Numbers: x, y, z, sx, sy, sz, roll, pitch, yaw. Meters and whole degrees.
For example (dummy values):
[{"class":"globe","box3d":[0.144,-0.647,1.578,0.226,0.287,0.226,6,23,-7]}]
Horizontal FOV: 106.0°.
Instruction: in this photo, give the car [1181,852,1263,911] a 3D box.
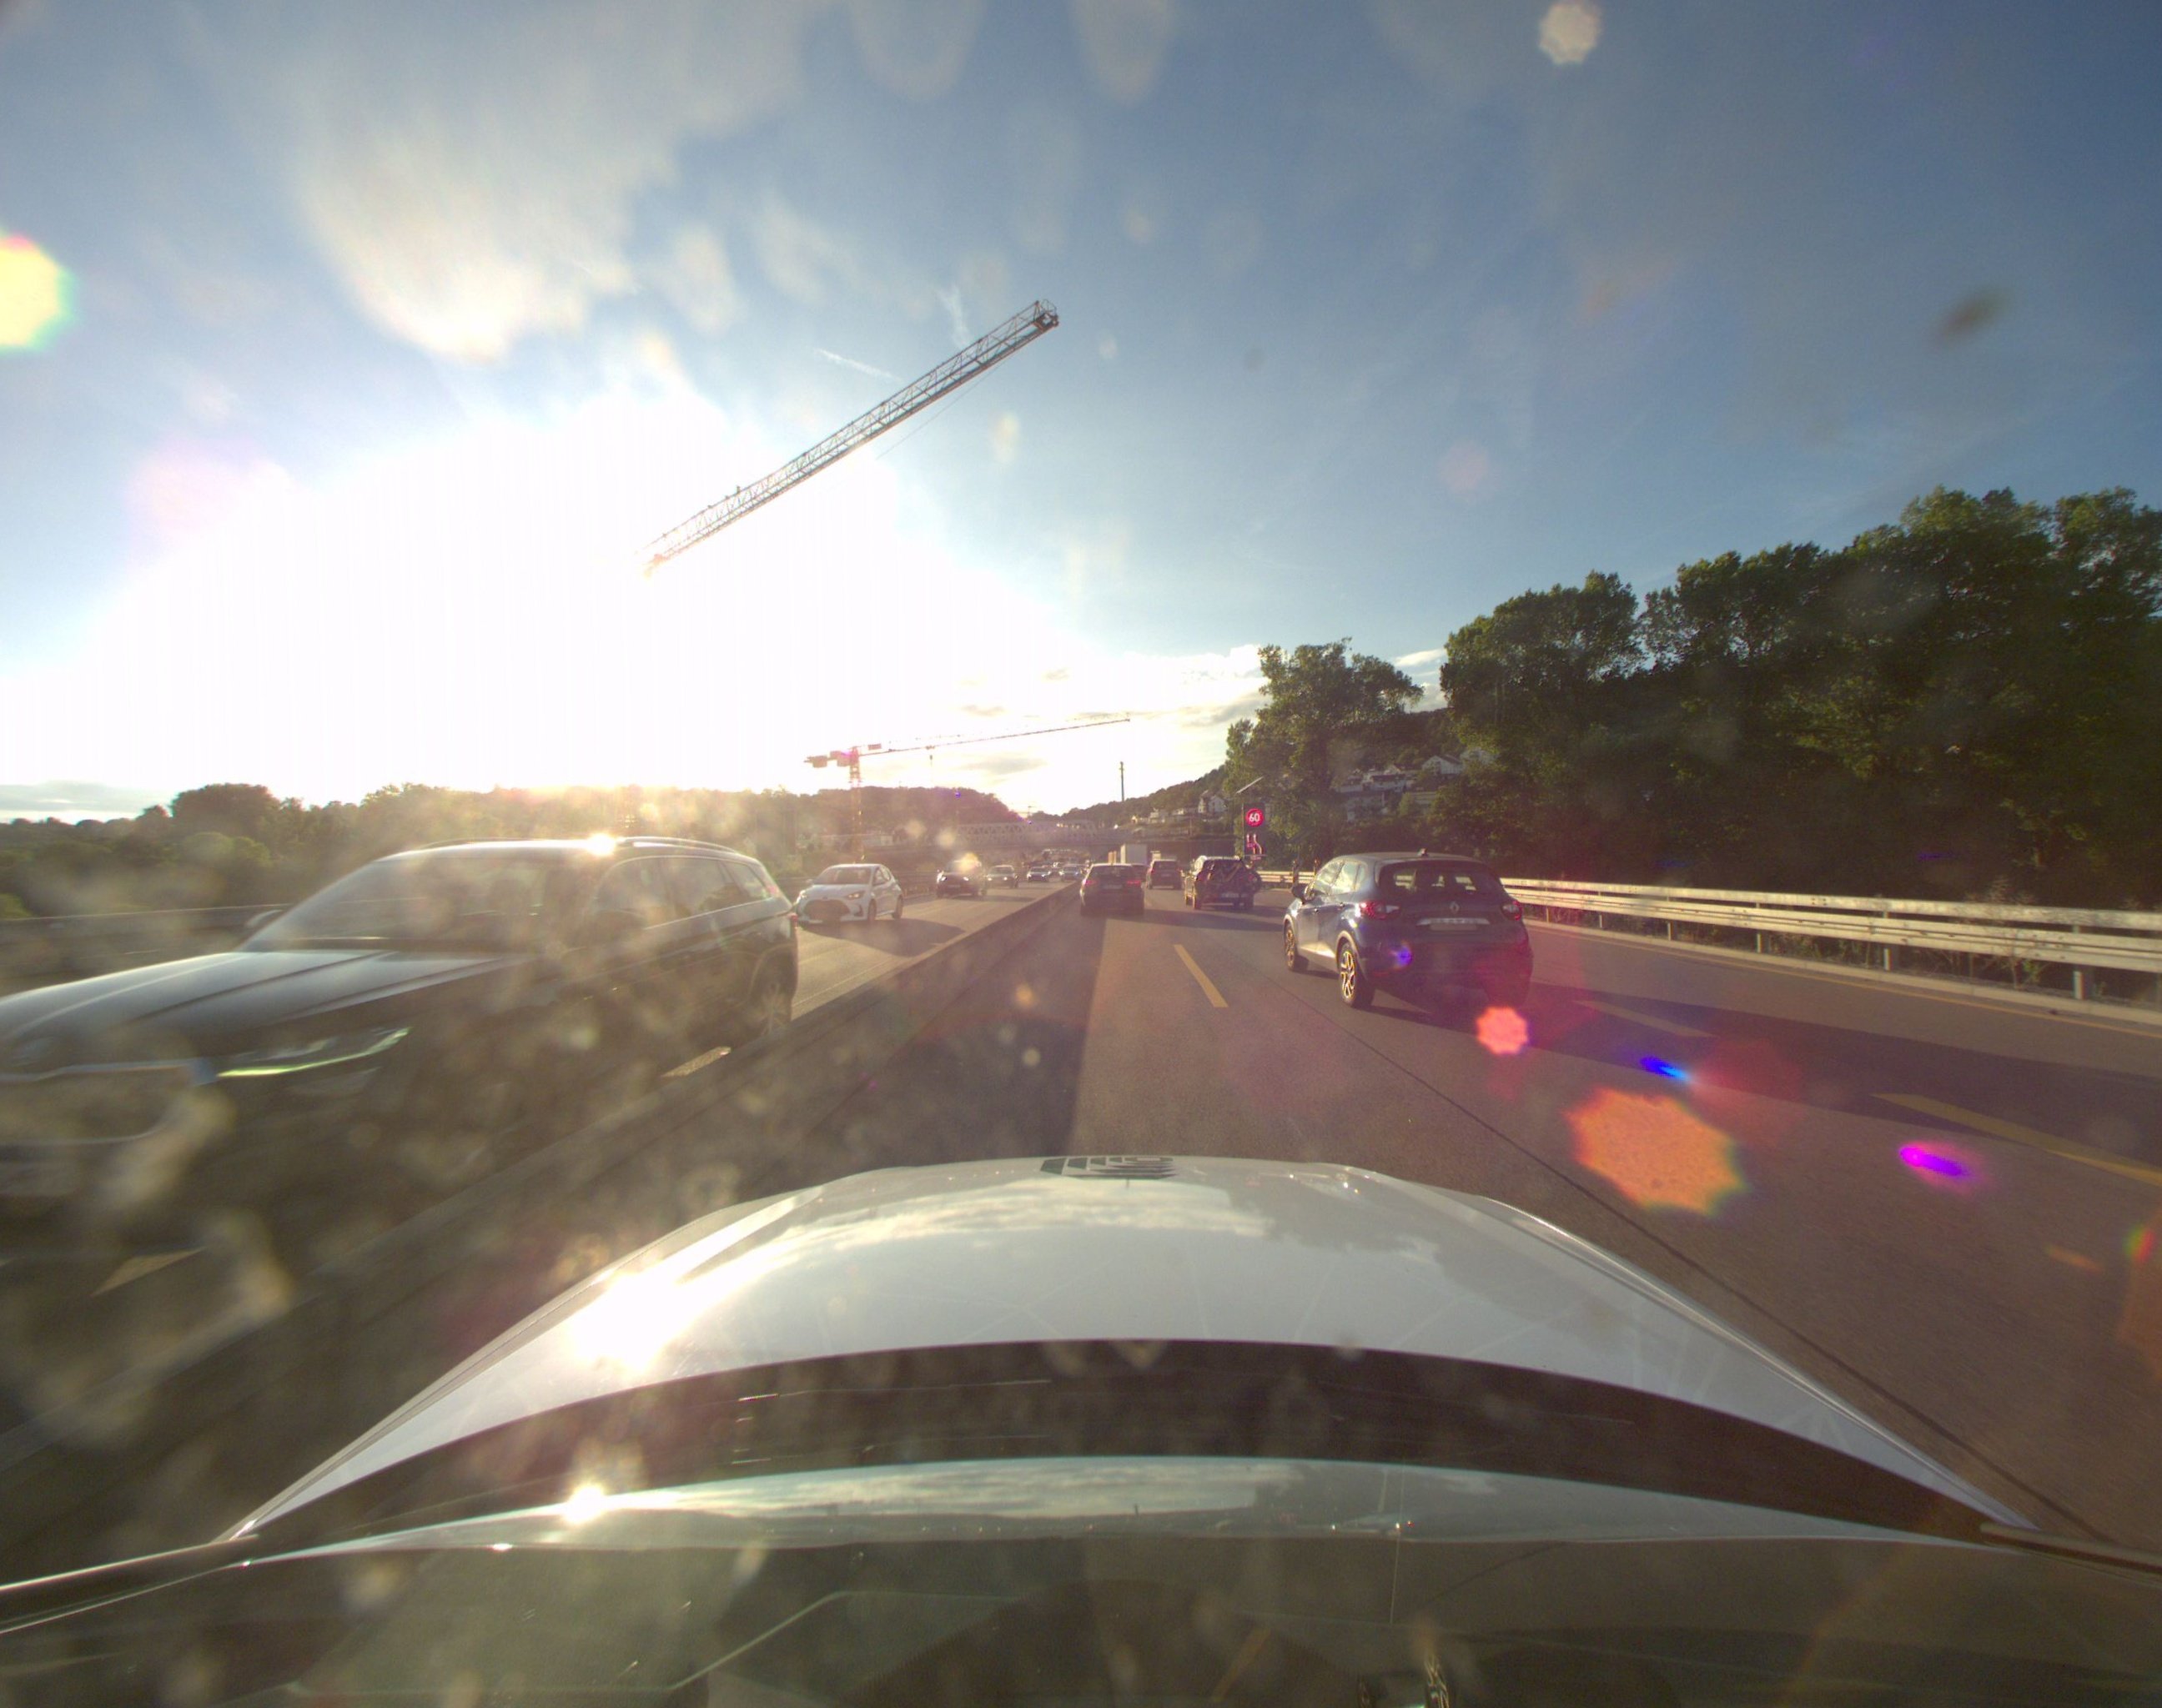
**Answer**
[{"class":"car","box3d":[4.220,0.804,25.160,1.868,1.599,4.969,-1,-1,3]}]

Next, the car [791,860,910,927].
[{"class":"car","box3d":[-5.656,0.905,20.480,1.695,1.446,4.001,-2,0,1]}]

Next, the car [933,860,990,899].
[{"class":"car","box3d":[-5.267,1.084,36.319,1.773,1.571,4.001,-2,0,1]}]

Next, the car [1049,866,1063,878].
[{"class":"car","box3d":[-3.458,2.469,112.983,1.704,1.552,4.001,-2,0,2]}]

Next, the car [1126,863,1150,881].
[{"class":"car","box3d":[4.973,1.549,71.556,1.764,1.553,3.999,0,-1,0]}]

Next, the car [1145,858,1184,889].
[{"class":"car","box3d":[4.631,1.093,45.923,1.808,1.632,4.411,-1,-1,1]}]

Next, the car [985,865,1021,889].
[{"class":"car","box3d":[-4.941,1.448,51.864,1.670,1.423,4.581,0,0,2]}]

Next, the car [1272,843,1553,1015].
[{"class":"car","box3d":[3.541,0.700,9.597,1.767,1.586,4.137,0,0,2]}]

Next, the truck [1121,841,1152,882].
[{"class":"truck","box3d":[6.633,0.685,99.064,3.372,4.497,15.278,0,1,3]}]

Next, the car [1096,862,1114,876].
[{"class":"car","box3d":[2.496,1.569,85.003,1.760,1.486,3.998,0,-1,-1]}]

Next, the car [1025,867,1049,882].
[{"class":"car","box3d":[-4.049,1.900,75.567,1.767,1.382,4.533,-2,-2,2]}]

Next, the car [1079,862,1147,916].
[{"class":"car","box3d":[0.841,0.940,23.297,1.764,1.390,3.999,0,-1,0]}]

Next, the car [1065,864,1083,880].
[{"class":"car","box3d":[-0.803,2.070,95.210,1.986,1.759,4.661,-1,-1,1]}]

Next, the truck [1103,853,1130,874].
[{"class":"truck","box3d":[7.780,2.035,180.700,3.885,4.498,13.820,0,0,-6]}]

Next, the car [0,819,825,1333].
[{"class":"car","box3d":[-3.322,0.725,4.887,1.986,1.645,4.514,0,0,2]}]

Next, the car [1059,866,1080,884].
[{"class":"car","box3d":[-1.076,1.949,75.785,1.798,1.512,4.000,-1,0,1]}]

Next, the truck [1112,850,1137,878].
[{"class":"truck","box3d":[7.385,1.638,140.319,3.876,4.498,15.271,0,0,1]}]
